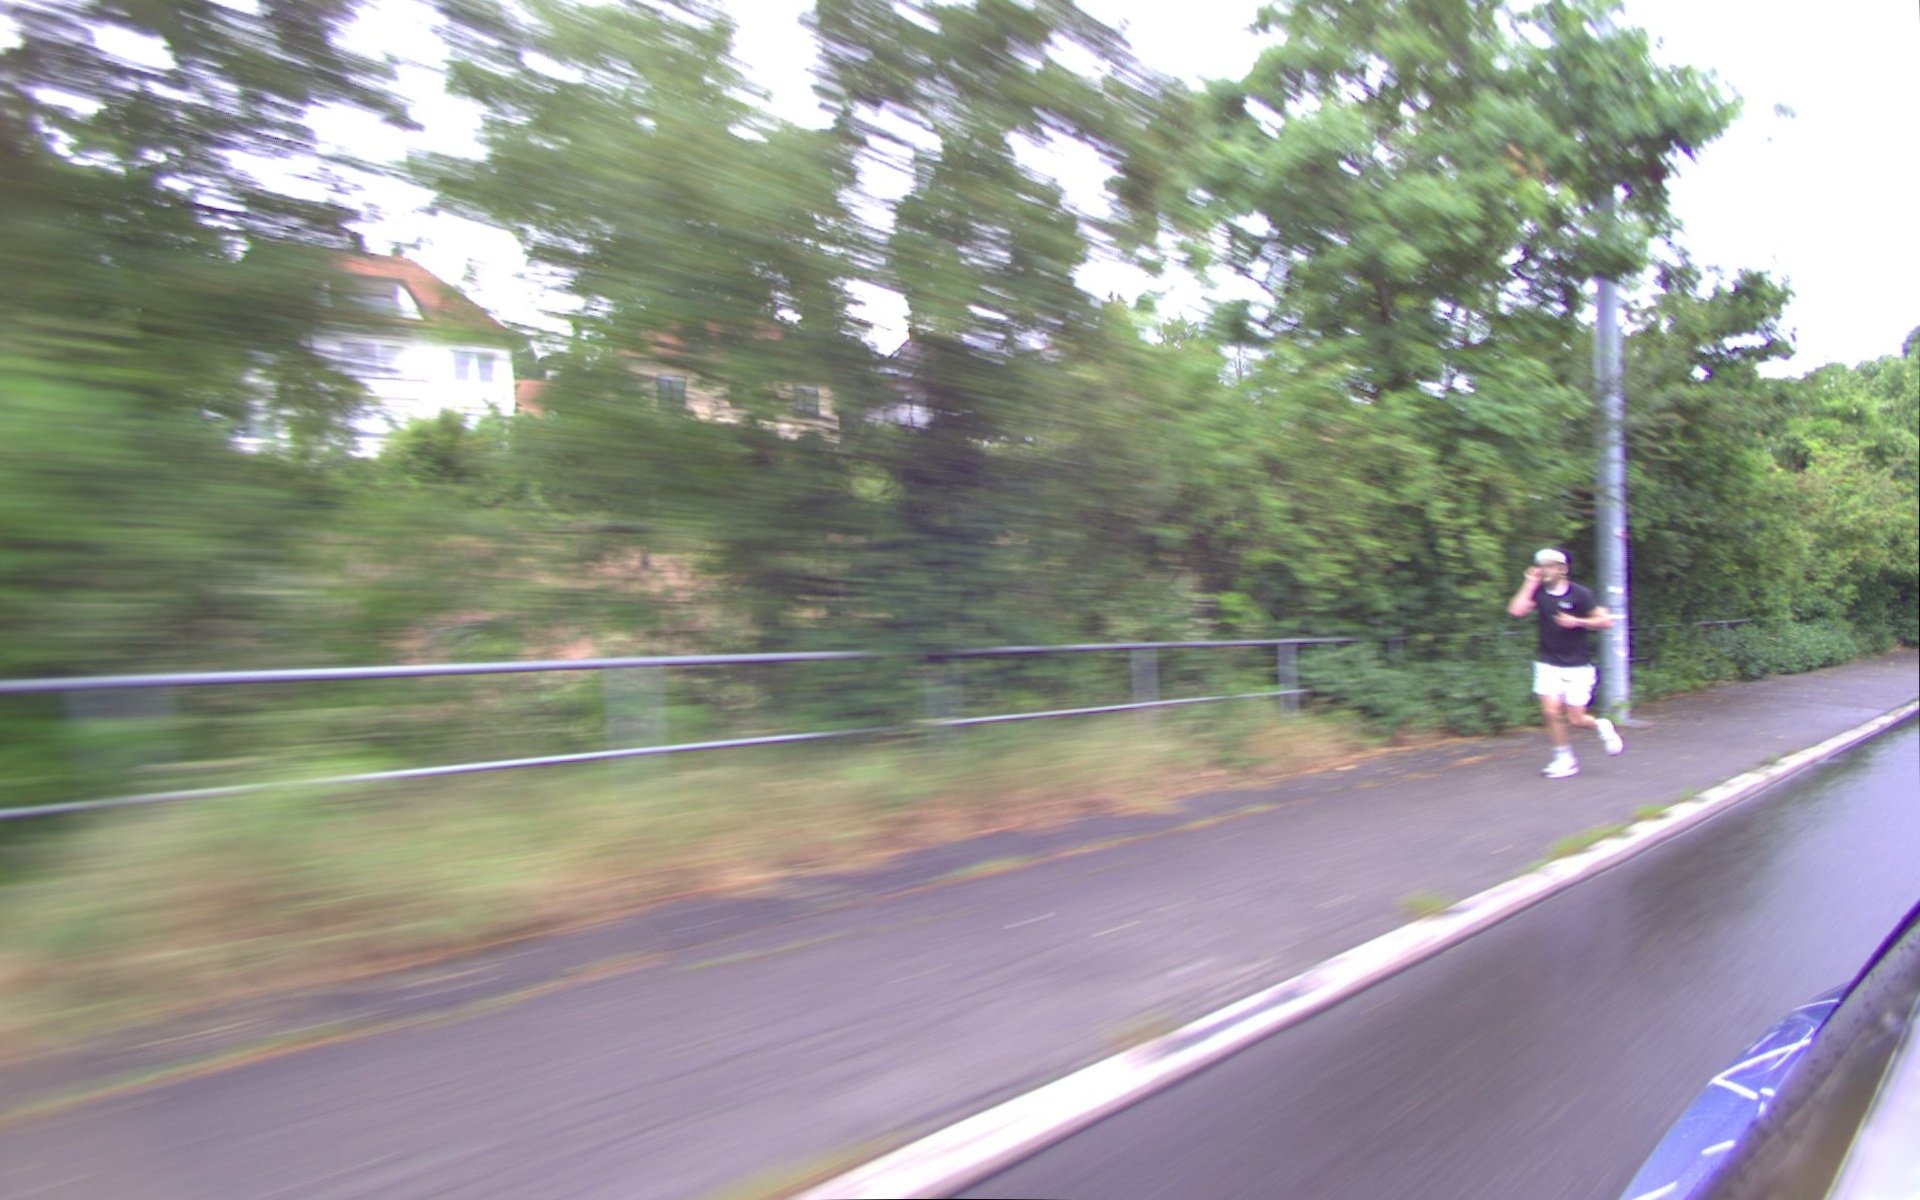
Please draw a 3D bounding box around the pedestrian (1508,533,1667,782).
[{"bbox_3d":[5.031,0.410,8.112,1.003,1.857,0.719,0,2,-38],"label":"pedestrian"}]
